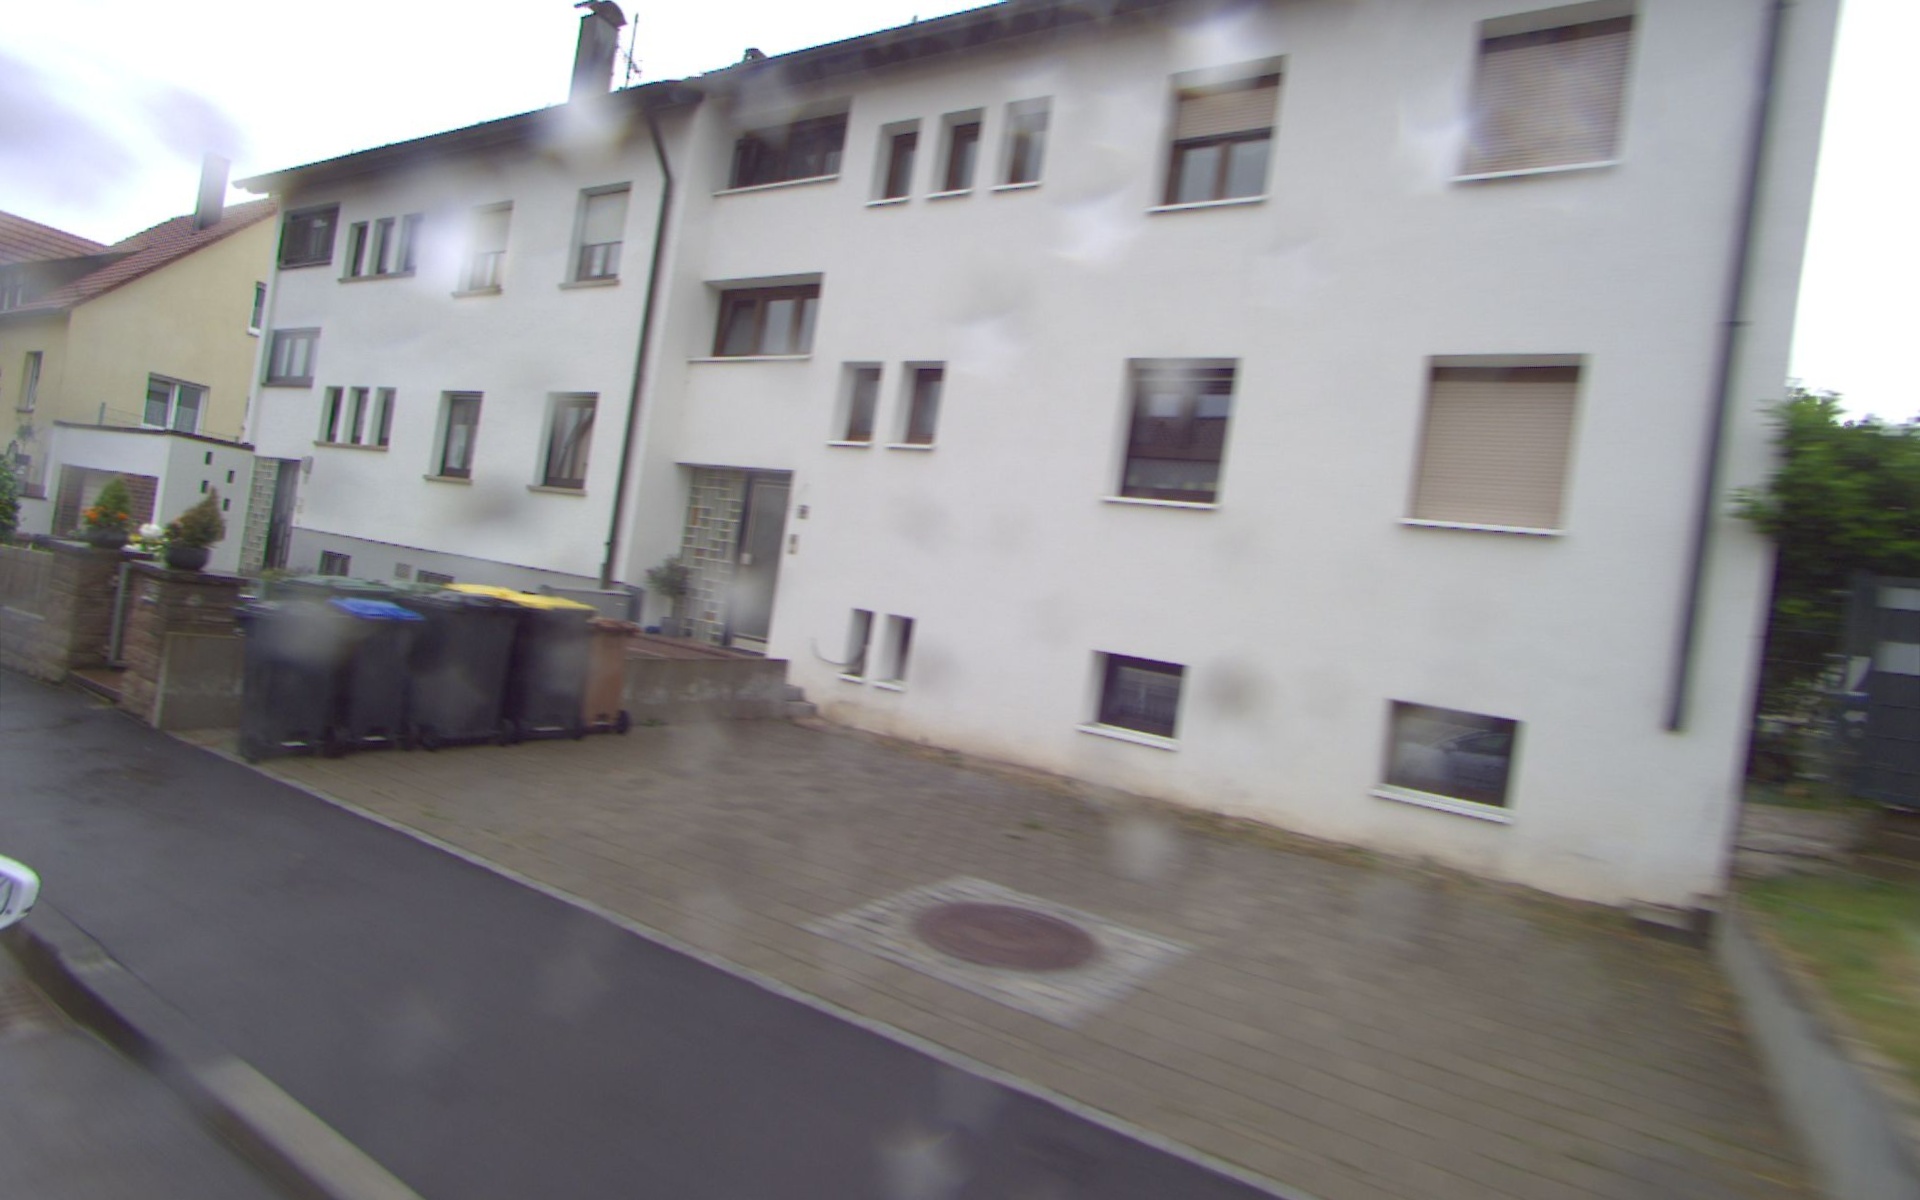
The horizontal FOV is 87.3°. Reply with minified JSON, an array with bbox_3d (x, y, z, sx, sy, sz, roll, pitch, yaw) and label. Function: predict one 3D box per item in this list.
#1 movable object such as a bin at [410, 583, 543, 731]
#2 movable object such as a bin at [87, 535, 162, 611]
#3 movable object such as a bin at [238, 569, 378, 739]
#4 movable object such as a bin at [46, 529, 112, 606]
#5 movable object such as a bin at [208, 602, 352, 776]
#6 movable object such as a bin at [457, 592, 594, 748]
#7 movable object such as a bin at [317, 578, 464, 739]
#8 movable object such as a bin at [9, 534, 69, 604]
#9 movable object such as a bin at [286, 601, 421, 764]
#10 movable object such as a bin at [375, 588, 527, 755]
[{"bbox_3d":[-3.814,0.456,7.946,0.621,1.039,0.546,10,-1,30],"label":"movable object such as a bin"},{"bbox_3d":[-13.736,-0.436,16.541,0.618,1.085,0.652,10,-1,32],"label":"movable object such as a bin"},{"bbox_3d":[-4.447,0.370,6.866,0.621,1.039,0.426,10,-1,31],"label":"movable object such as a bin"},{"bbox_3d":[-14.042,-0.510,16.029,0.618,1.085,0.499,10,-1,32],"label":"movable object such as a bin"},{"bbox_3d":[-4.151,0.542,6.150,0.499,0.951,0.426,10,-1,30],"label":"movable object such as a bin"},{"bbox_3d":[-3.272,0.532,7.591,0.621,1.039,0.529,10,-1,30],"label":"movable object such as a bin"},{"bbox_3d":[-4.157,0.432,7.355,0.621,1.039,0.546,10,-1,30],"label":"movable object such as a bin"},{"bbox_3d":[-14.273,-0.475,15.592,0.435,0.972,0.472,10,-1,32],"label":"movable object such as a bin"},{"bbox_3d":[-3.926,0.535,6.521,0.499,0.951,0.426,10,-1,30],"label":"movable object such as a bin"},{"bbox_3d":[-3.562,0.505,7.052,0.621,1.039,0.546,10,-1,30],"label":"movable object such as a bin"}]
